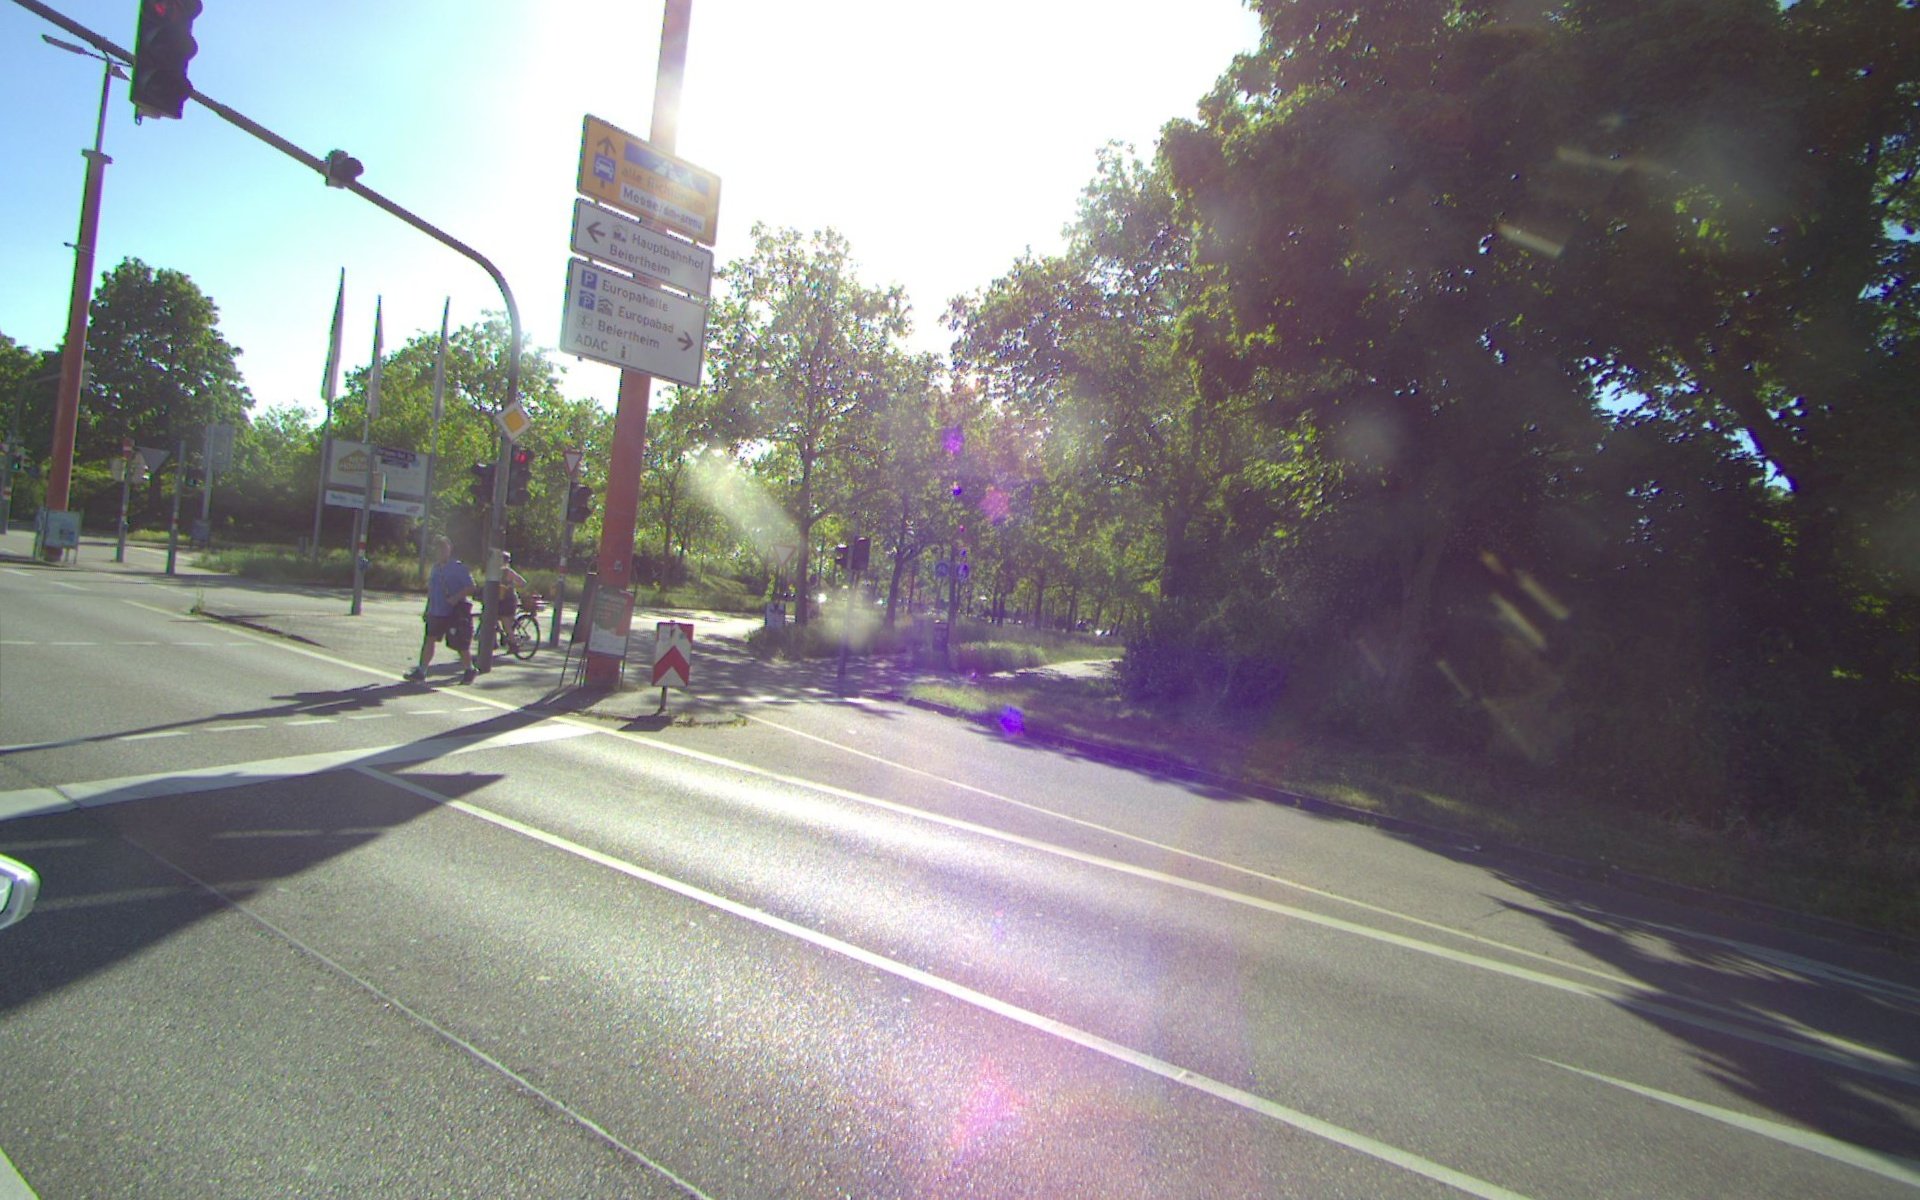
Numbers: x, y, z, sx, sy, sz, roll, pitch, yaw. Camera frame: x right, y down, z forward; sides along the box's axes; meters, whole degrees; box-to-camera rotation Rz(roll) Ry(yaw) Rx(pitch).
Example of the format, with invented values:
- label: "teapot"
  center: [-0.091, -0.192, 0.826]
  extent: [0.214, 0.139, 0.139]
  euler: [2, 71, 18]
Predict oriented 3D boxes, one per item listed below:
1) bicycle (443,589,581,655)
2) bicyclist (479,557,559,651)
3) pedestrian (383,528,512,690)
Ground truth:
- label: "bicycle"
  center: [-6.916, 0.371, 15.670]
  extent: [0.549, 0.889, 2.169]
  euler: [7, -1, 19]
- label: "bicyclist"
  center: [-6.875, 0.075, 15.705]
  extent: [0.695, 1.358, 0.742]
  euler: [7, 0, 21]
- label: "pedestrian"
  center: [-6.226, 0.117, 12.270]
  extent: [0.883, 1.810, 0.894]
  euler: [7, 0, 5]
